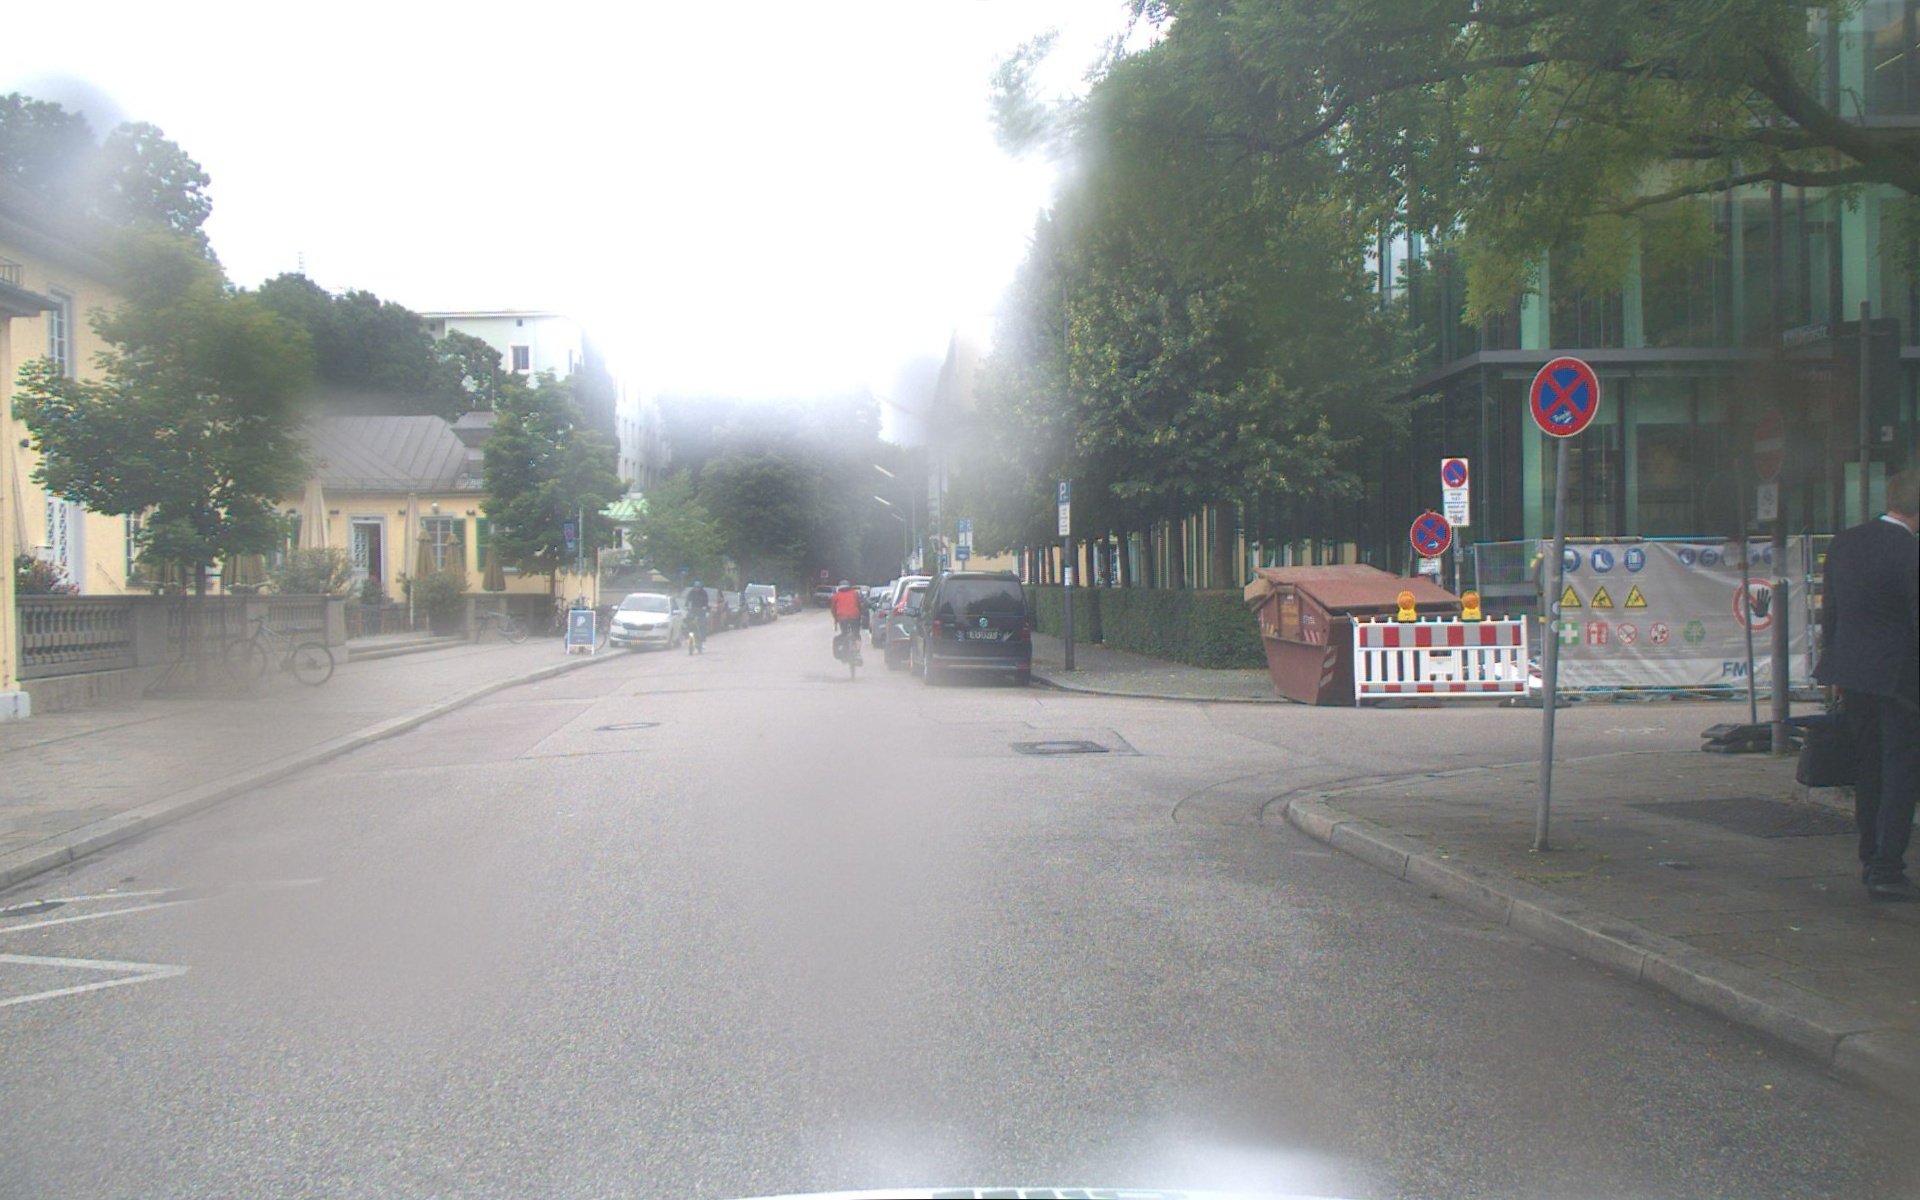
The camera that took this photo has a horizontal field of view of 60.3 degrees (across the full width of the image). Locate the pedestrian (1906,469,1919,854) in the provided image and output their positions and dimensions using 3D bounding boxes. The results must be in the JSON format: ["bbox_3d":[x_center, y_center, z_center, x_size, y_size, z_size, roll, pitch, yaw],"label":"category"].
[{"bbox_3d":[5.262,0.309,8.393,0.728,1.941,1.054,-1,0,28],"label":"pedestrian"}]

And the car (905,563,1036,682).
[{"bbox_3d":[0.101,0.334,27.931,1.727,1.855,4.133,0,1,-7],"label":"car"}]

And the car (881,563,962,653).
[{"bbox_3d":[-0.953,0.155,38.899,1.715,1.977,4.225,-1,1,-3],"label":"car"}]

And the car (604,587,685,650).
[{"bbox_3d":[-8.709,0.488,45.853,1.699,1.609,3.784,2,0,-4],"label":"car"}]

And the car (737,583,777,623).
[{"bbox_3d":[-11.022,0.143,89.954,1.954,2.116,3.996,-1,1,-5],"label":"car"}]

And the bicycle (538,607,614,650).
[{"bbox_3d":[-9.546,0.701,41.205,0.609,1.021,2.138,2,1,26],"label":"bicycle"}]

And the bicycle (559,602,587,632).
[{"bbox_3d":[-13.345,0.581,57.062,0.609,1.022,1.618,0,-1,-1],"label":"bicycle"}]

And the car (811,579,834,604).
[{"bbox_3d":[-12.529,-0.809,150.615,1.955,2.135,3.996,2,0,-5],"label":"car"}]

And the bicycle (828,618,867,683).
[{"bbox_3d":[-1.884,0.830,27.627,0.609,1.022,2.138,-1,-1,-4],"label":"bicycle"}]

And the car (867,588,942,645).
[{"bbox_3d":[-1.529,0.407,44.396,1.826,1.465,4.251,0,0,-5],"label":"car"}]

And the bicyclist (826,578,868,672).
[{"bbox_3d":[-1.884,0.418,27.624,0.658,1.524,1.094,-1,-1,-3],"label":"bicyclist"}]

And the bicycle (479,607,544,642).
[{"bbox_3d":[-12.291,0.667,45.356,1.598,0.942,0.644,-1,-1,-32],"label":"bicycle"}]

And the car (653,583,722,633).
[{"bbox_3d":[-9.578,0.264,58.414,1.954,1.677,4.651,-1,0,-4],"label":"car"}]

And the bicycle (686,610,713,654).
[{"bbox_3d":[-6.457,0.779,41.044,0.610,1.021,2.136,-1,1,-8],"label":"bicycle"}]

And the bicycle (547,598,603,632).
[{"bbox_3d":[-12.135,0.465,52.087,1.601,1.022,0.615,-1,-1,-36],"label":"bicycle"}]

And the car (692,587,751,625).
[{"bbox_3d":[-10.135,0.215,70.480,1.953,1.512,3.999,1,1,-1],"label":"car"}]

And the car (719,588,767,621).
[{"bbox_3d":[-10.646,0.203,81.363,1.954,1.512,3.998,-1,1,-3],"label":"car"}]

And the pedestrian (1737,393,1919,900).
[{"bbox_3d":[4.276,0.189,7.663,0.728,2.172,1.054,-2,0,-8],"label":"pedestrian"}]

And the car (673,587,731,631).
[{"bbox_3d":[-9.908,0.363,63.789,1.955,1.631,3.995,0,0,-6],"label":"car"}]

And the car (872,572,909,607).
[{"bbox_3d":[-4.314,-0.675,101.823,1.955,2.096,4.617,0,0,-6],"label":"car"}]

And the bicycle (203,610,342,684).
[{"bbox_3d":[-10.811,0.735,26.053,1.892,1.118,0.614,1,0,-4],"label":"bicycle"}]

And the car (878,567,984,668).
[{"bbox_3d":[-0.633,0.296,32.694,1.826,1.825,4.506,-1,1,-4],"label":"car"}]

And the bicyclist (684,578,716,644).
[{"bbox_3d":[-6.478,0.272,41.264,0.729,1.603,0.975,-1,0,-7],"label":"bicyclist"}]
